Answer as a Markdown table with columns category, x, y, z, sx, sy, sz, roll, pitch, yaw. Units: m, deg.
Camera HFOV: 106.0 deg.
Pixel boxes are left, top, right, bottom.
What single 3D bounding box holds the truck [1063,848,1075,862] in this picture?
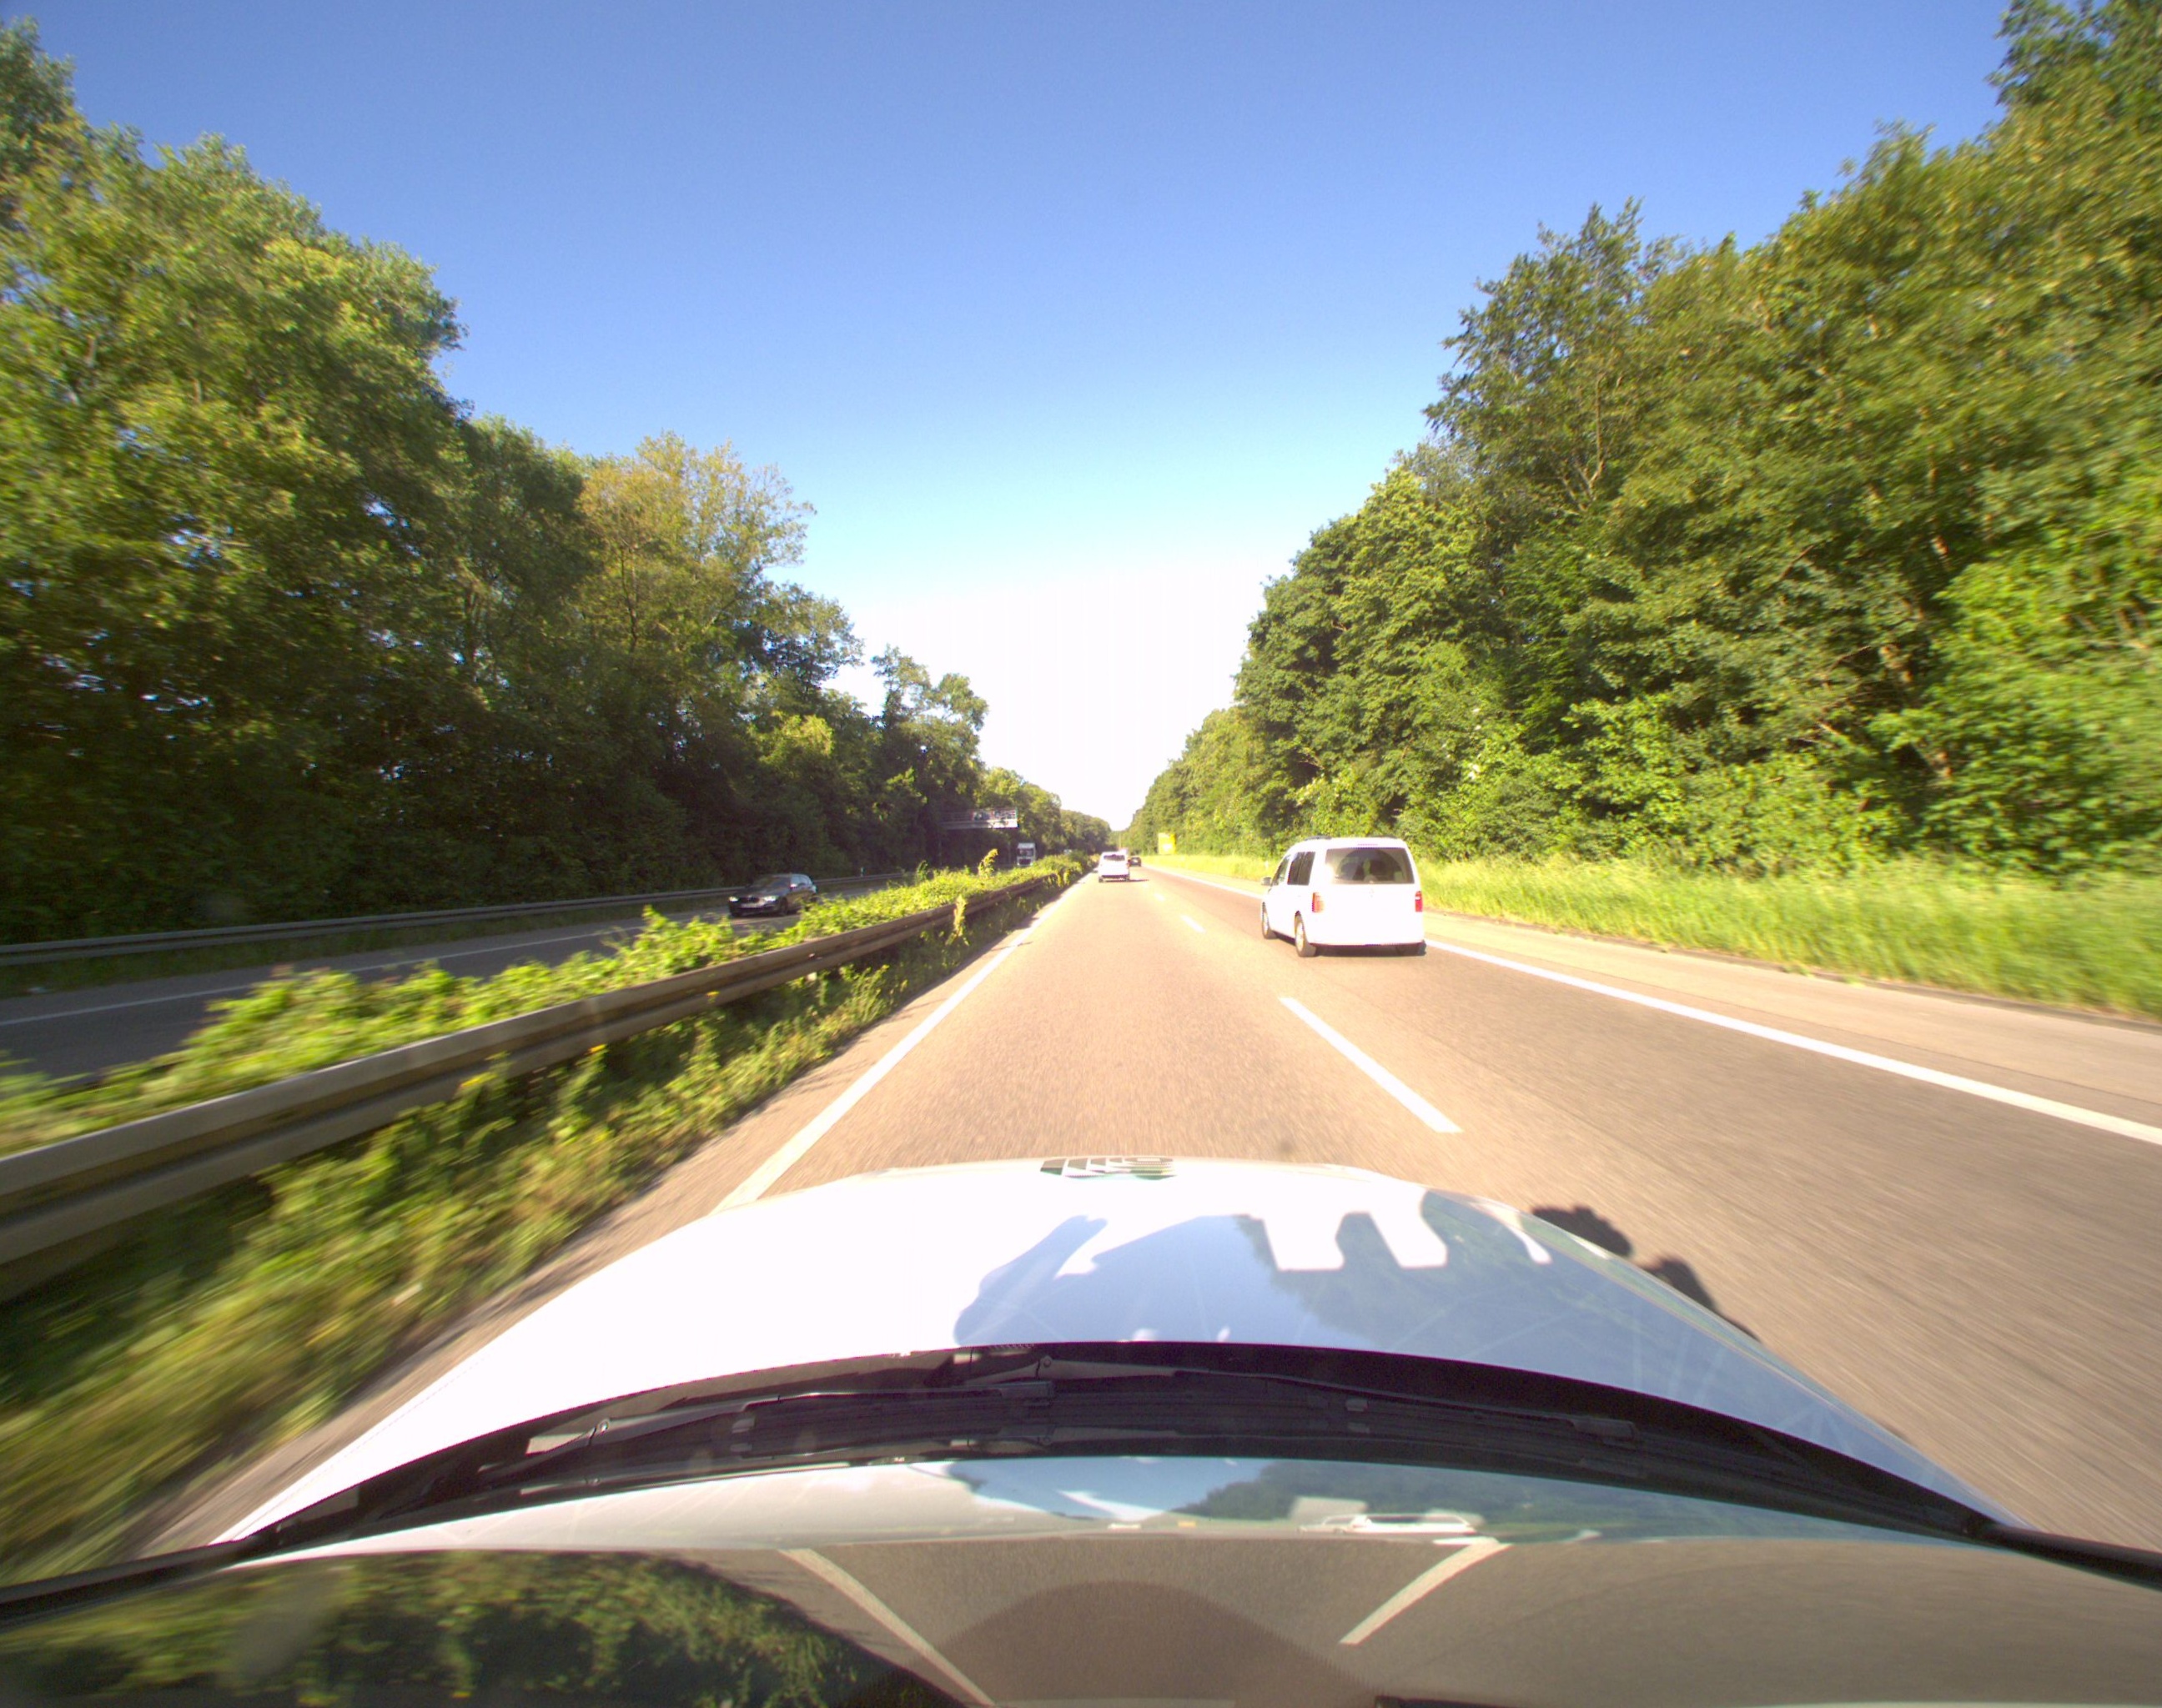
| category | x | y | z | sx | sy | sz | roll | pitch | yaw |
| --- | --- | --- | --- | --- | --- | --- | --- | --- | --- |
| truck | -3.552 | 0.240 | 238.438 | 3.216 | 4.013 | 5.679 | 0 | 0 | 2 |

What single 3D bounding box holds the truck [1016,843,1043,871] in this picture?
| category | x | y | z | sx | sy | sz | roll | pitch | yaw |
| --- | --- | --- | --- | --- | --- | --- | --- | --- | --- |
| truck | -7.629 | 0.454 | 122.046 | 2.758 | 3.955 | 11.473 | 0 | -1 | 2 |

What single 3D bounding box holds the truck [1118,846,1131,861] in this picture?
| category | x | y | z | sx | sy | sz | roll | pitch | yaw |
| --- | --- | --- | --- | --- | --- | --- | --- | --- | --- |
| truck | 12.485 | -0.094 | 234.460 | 3.719 | 4.344 | 9.309 | 0 | -1 | 2 |

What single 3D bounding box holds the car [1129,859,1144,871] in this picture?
| category | x | y | z | sx | sy | sz | roll | pitch | yaw |
| --- | --- | --- | --- | --- | --- | --- | --- | --- | --- |
| car | 8.350 | 1.684 | 122.713 | 1.944 | 1.782 | 4.589 | 0 | -1 | 2 |

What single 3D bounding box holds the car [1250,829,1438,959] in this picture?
| category | x | y | z | sx | sy | sz | roll | pitch | yaw |
| --- | --- | --- | --- | --- | --- | --- | --- | --- | --- |
| car | 4.157 | 0.581 | 13.688 | 1.792 | 1.813 | 4.589 | 0 | -1 | 2 |

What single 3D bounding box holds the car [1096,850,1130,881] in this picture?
| category | x | y | z | sx | sy | sz | roll | pitch | yaw |
| --- | --- | --- | --- | --- | --- | --- | --- | --- | --- |
| car | 1.935 | 0.679 | 49.208 | 1.944 | 1.782 | 4.589 | 0 | -1 | 2 |

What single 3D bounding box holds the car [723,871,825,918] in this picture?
| category | x | y | z | sx | sy | sz | roll | pitch | yaw |
| --- | --- | --- | --- | --- | --- | --- | --- | --- | --- |
| car | -10.693 | 1.360 | 28.779 | 1.726 | 1.408 | 4.558 | 0 | 0 | 2 |
